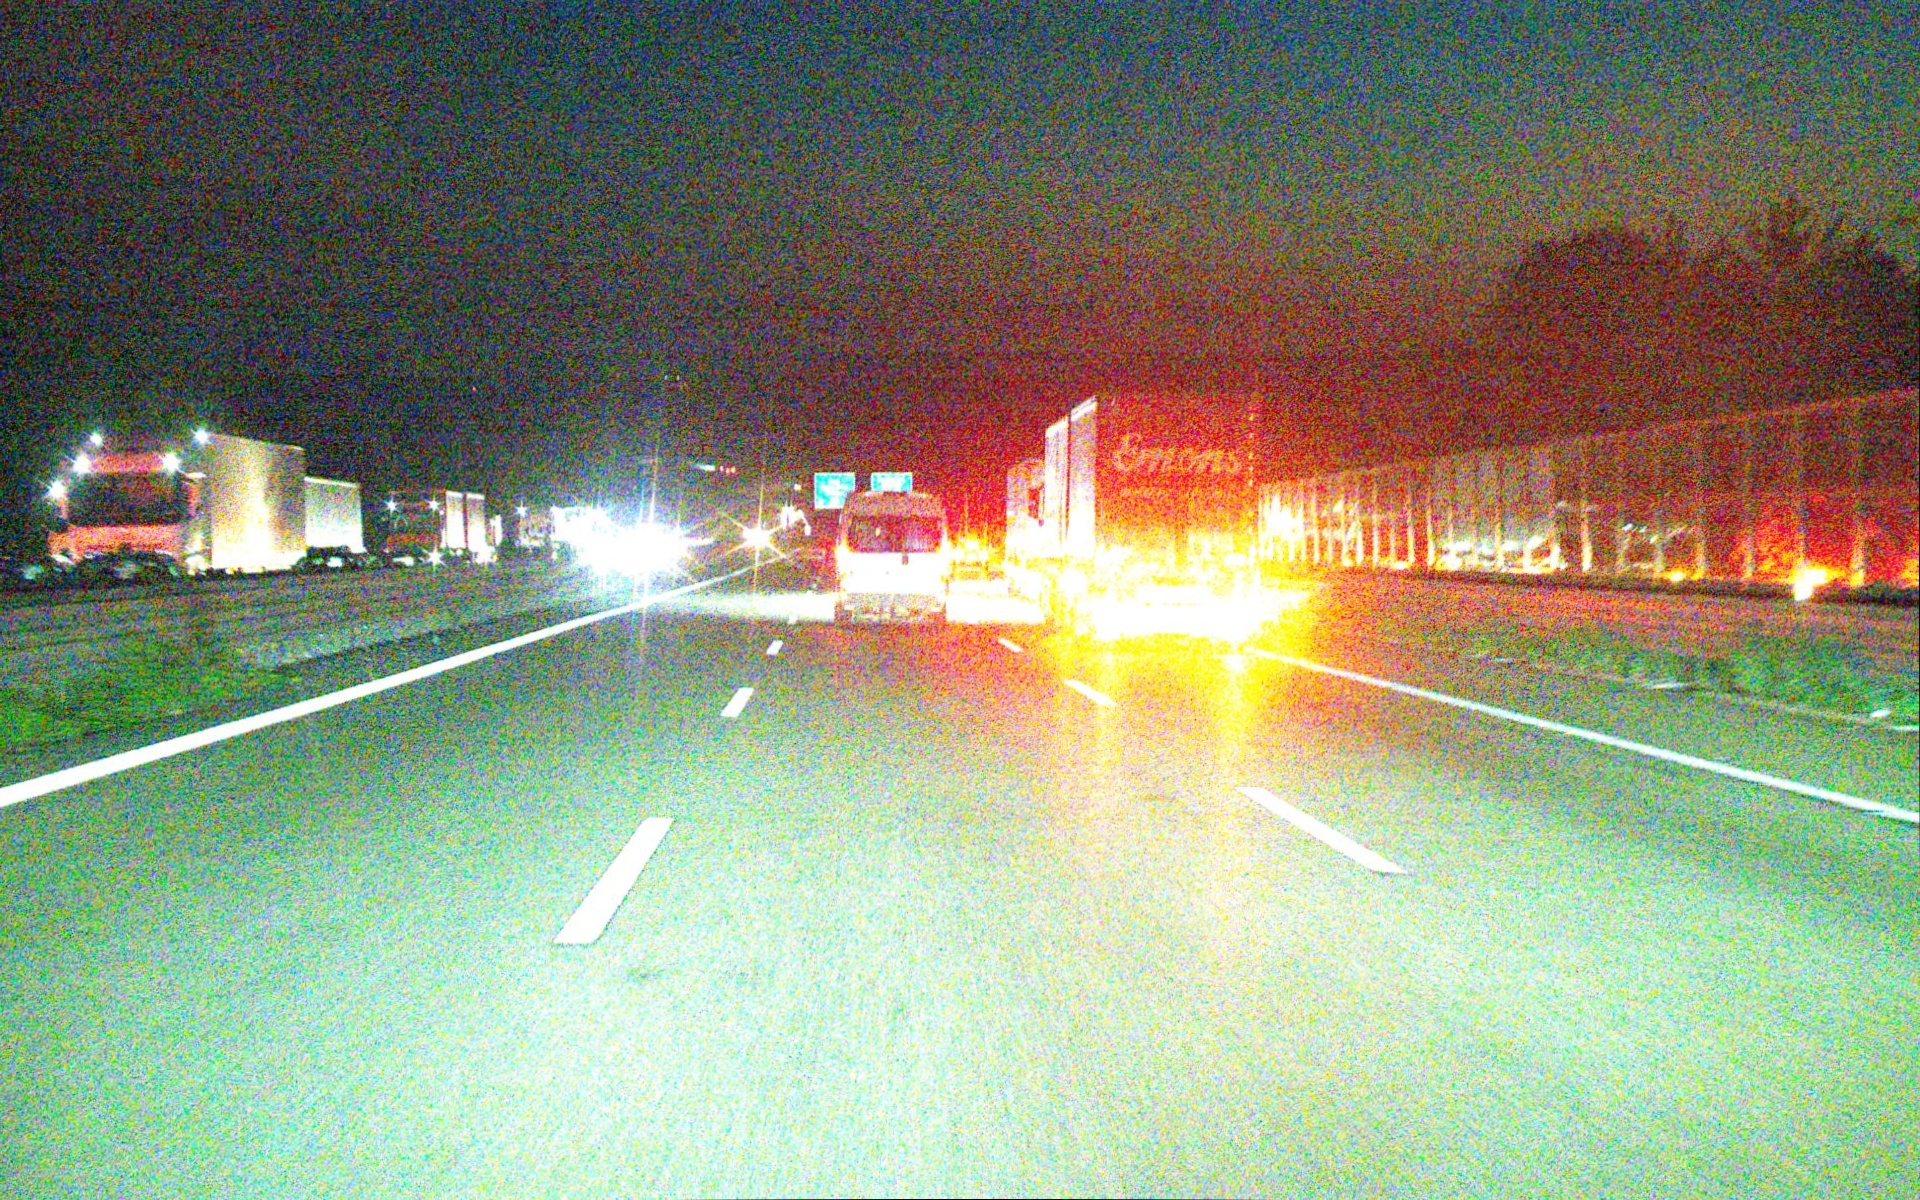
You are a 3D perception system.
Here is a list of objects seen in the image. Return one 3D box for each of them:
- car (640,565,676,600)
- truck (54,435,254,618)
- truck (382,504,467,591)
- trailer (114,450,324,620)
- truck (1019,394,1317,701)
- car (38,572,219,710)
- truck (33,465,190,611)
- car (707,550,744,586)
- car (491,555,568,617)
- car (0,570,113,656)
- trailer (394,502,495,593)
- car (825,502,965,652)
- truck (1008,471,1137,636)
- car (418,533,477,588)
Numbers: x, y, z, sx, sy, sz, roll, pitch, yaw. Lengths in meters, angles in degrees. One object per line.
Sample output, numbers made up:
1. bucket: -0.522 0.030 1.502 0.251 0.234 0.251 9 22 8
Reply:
1. car: -18.061 -1.043 205.521 1.993 2.007 4.001 2 -1 -6
2. truck: -17.458 -1.511 74.878 2.874 3.661 6.780 2 -1 -2
3. truck: -24.233 -2.325 155.833 2.859 3.675 6.603 2 -1 -2
4. trailer: -17.781 -1.417 83.341 2.885 3.659 12.217 2 -1 -3
5. truck: 3.387 -0.732 63.468 3.915 4.612 21.017 -2 0 0
6. car: -13.015 0.642 54.057 1.993 2.007 4.000 2 -1 -3
7. truck: -22.317 -1.612 90.685 2.874 3.661 6.051 2 1 -3
8. car: -14.004 -1.890 204.959 1.993 2.007 4.001 2 -1 -6
9. car: -15.086 -0.467 120.734 1.993 2.007 5.324 2 -1 0
10. car: -16.861 0.237 62.528 1.729 1.481 4.646 2 -1 0
11. trailer: -24.465 -2.383 163.933 2.885 3.836 15.068 2 -1 -2
12. car: -1.147 -0.368 63.757 2.337 2.631 5.247 0 -1 1
13. truck: 3.187 -1.356 101.588 3.344 4.461 13.909 2 1 0
14. car: -19.873 -1.518 133.378 1.993 2.007 4.001 2 -1 -6
